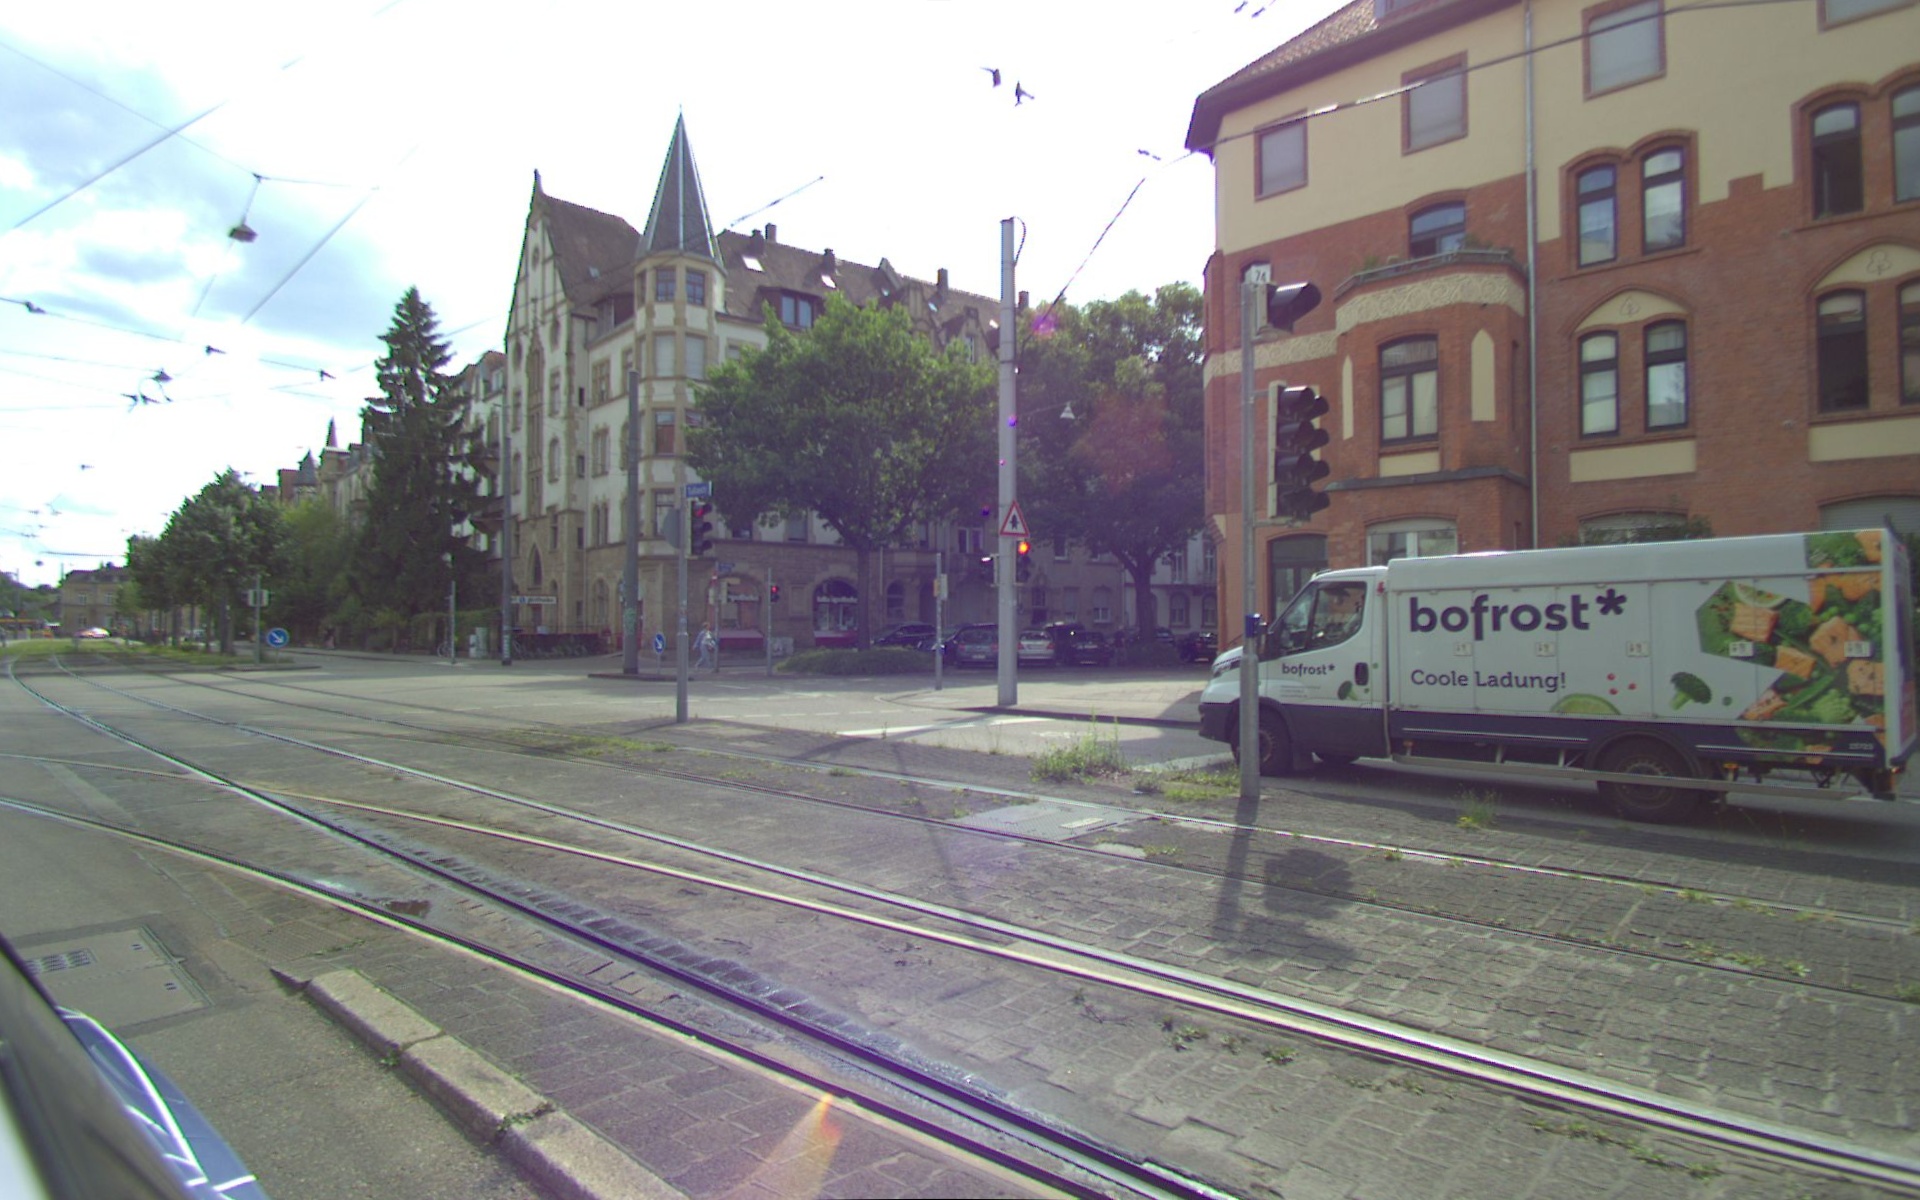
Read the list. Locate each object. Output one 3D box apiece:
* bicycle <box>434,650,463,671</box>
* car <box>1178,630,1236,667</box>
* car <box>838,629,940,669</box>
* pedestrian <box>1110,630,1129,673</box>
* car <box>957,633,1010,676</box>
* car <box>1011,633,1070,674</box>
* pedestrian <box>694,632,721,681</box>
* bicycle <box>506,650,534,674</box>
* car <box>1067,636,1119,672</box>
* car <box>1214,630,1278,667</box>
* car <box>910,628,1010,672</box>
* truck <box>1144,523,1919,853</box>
[{"bbox_3d":[-24.885,2.930,49.179,0.616,0.979,2.338,2,-3,-43],"label":"bicycle"},{"bbox_3d":[11.351,2.223,46.755,1.975,1.608,3.993,-1,-2,5],"label":"car"},{"bbox_3d":[-3.126,2.171,44.931,4.200,1.698,2.003,2,-3,-41],"label":"car"},{"bbox_3d":[6.415,2.060,40.642,0.737,1.693,0.796,0,-3,11],"label":"pedestrian"},{"bbox_3d":[0.906,2.103,39.864,1.972,1.557,4.226,0,-2,1],"label":"car"},{"bbox_3d":[3.266,2.095,40.397,1.633,1.557,3.711,-1,-2,16],"label":"car"},{"bbox_3d":[-9.150,2.040,36.655,0.919,1.754,0.771,0,-2,-14],"label":"pedestrian"},{"bbox_3d":[-19.397,2.725,44.572,0.583,0.979,1.631,2,-1,-43],"label":"bicycle"},{"bbox_3d":[5.543,2.203,41.960,1.610,1.409,3.551,0,-2,16],"label":"car"},{"bbox_3d":[13.748,2.312,48.842,1.899,1.701,3.999,0,-2,0],"label":"car"},{"bbox_3d":[0.017,2.141,43.709,3.935,1.835,2.004,2,-3,-38],"label":"car"},{"bbox_3d":[5.138,0.724,9.918,2.158,2.231,6.619,2,-3,-42],"label":"truck"}]
